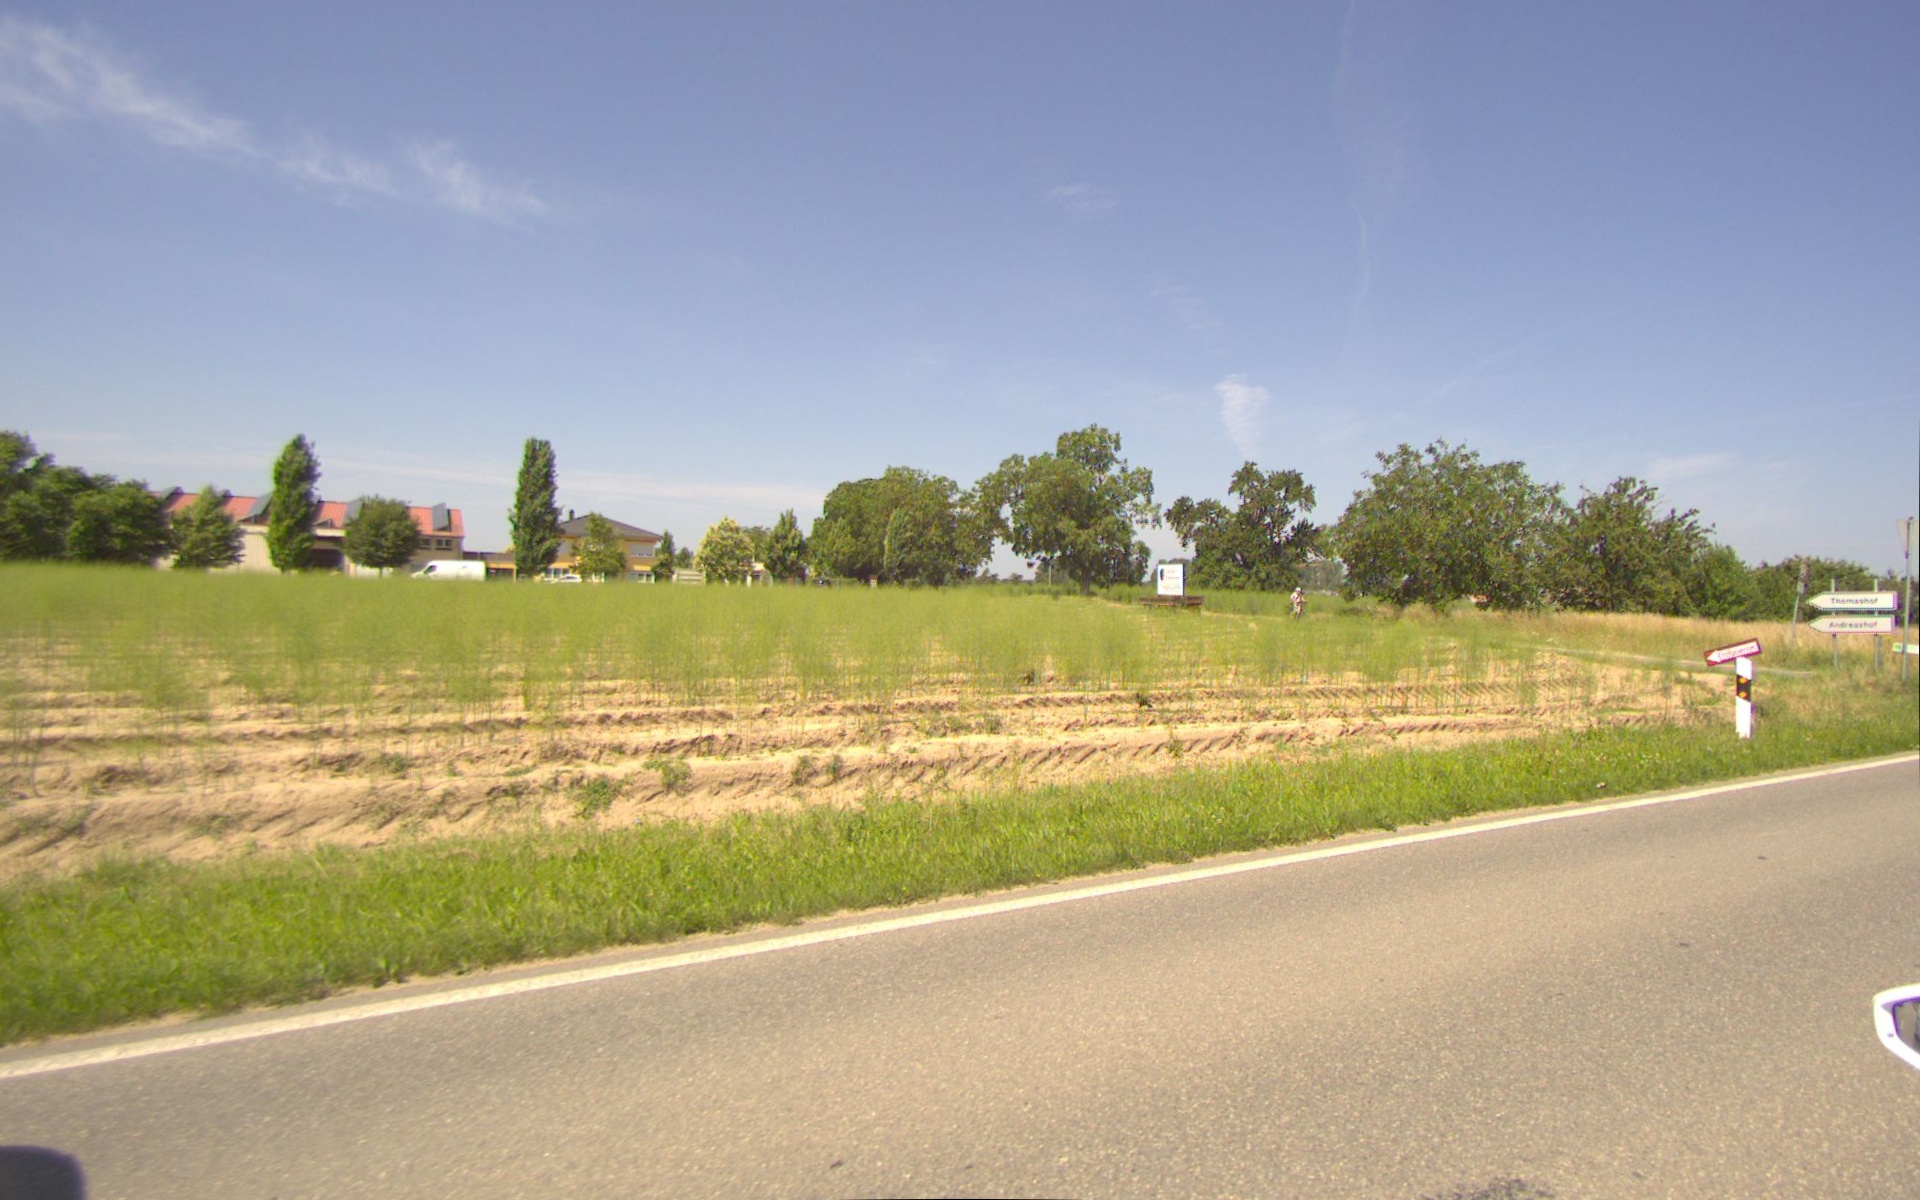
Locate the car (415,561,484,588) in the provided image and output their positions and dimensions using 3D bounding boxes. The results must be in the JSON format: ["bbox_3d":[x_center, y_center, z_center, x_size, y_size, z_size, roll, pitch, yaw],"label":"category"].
[{"bbox_3d":[-45.362,-2.264,89.372,5.434,2.089,1.858,2,1,-28],"label":"car"}]

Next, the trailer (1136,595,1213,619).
[{"bbox_3d":[10.840,0.343,50.988,1.970,1.154,3.981,2,0,-20],"label":"trailer"}]

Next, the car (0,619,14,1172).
[{"bbox_3d":[-3.840,0.700,0.660,4.367,1.375,1.733,1,0,-31],"label":"car"}]

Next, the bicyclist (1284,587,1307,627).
[{"bbox_3d":[15.375,0.303,45.997,0.653,1.781,0.698,2,1,-21],"label":"bicyclist"}]

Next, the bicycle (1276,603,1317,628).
[{"bbox_3d":[15.383,0.701,45.956,0.672,1.005,1.915,2,1,-21],"label":"bicycle"}]

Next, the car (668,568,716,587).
[{"bbox_3d":[-24.853,-2.057,93.189,3.957,1.559,1.854,2,1,-33],"label":"car"}]
